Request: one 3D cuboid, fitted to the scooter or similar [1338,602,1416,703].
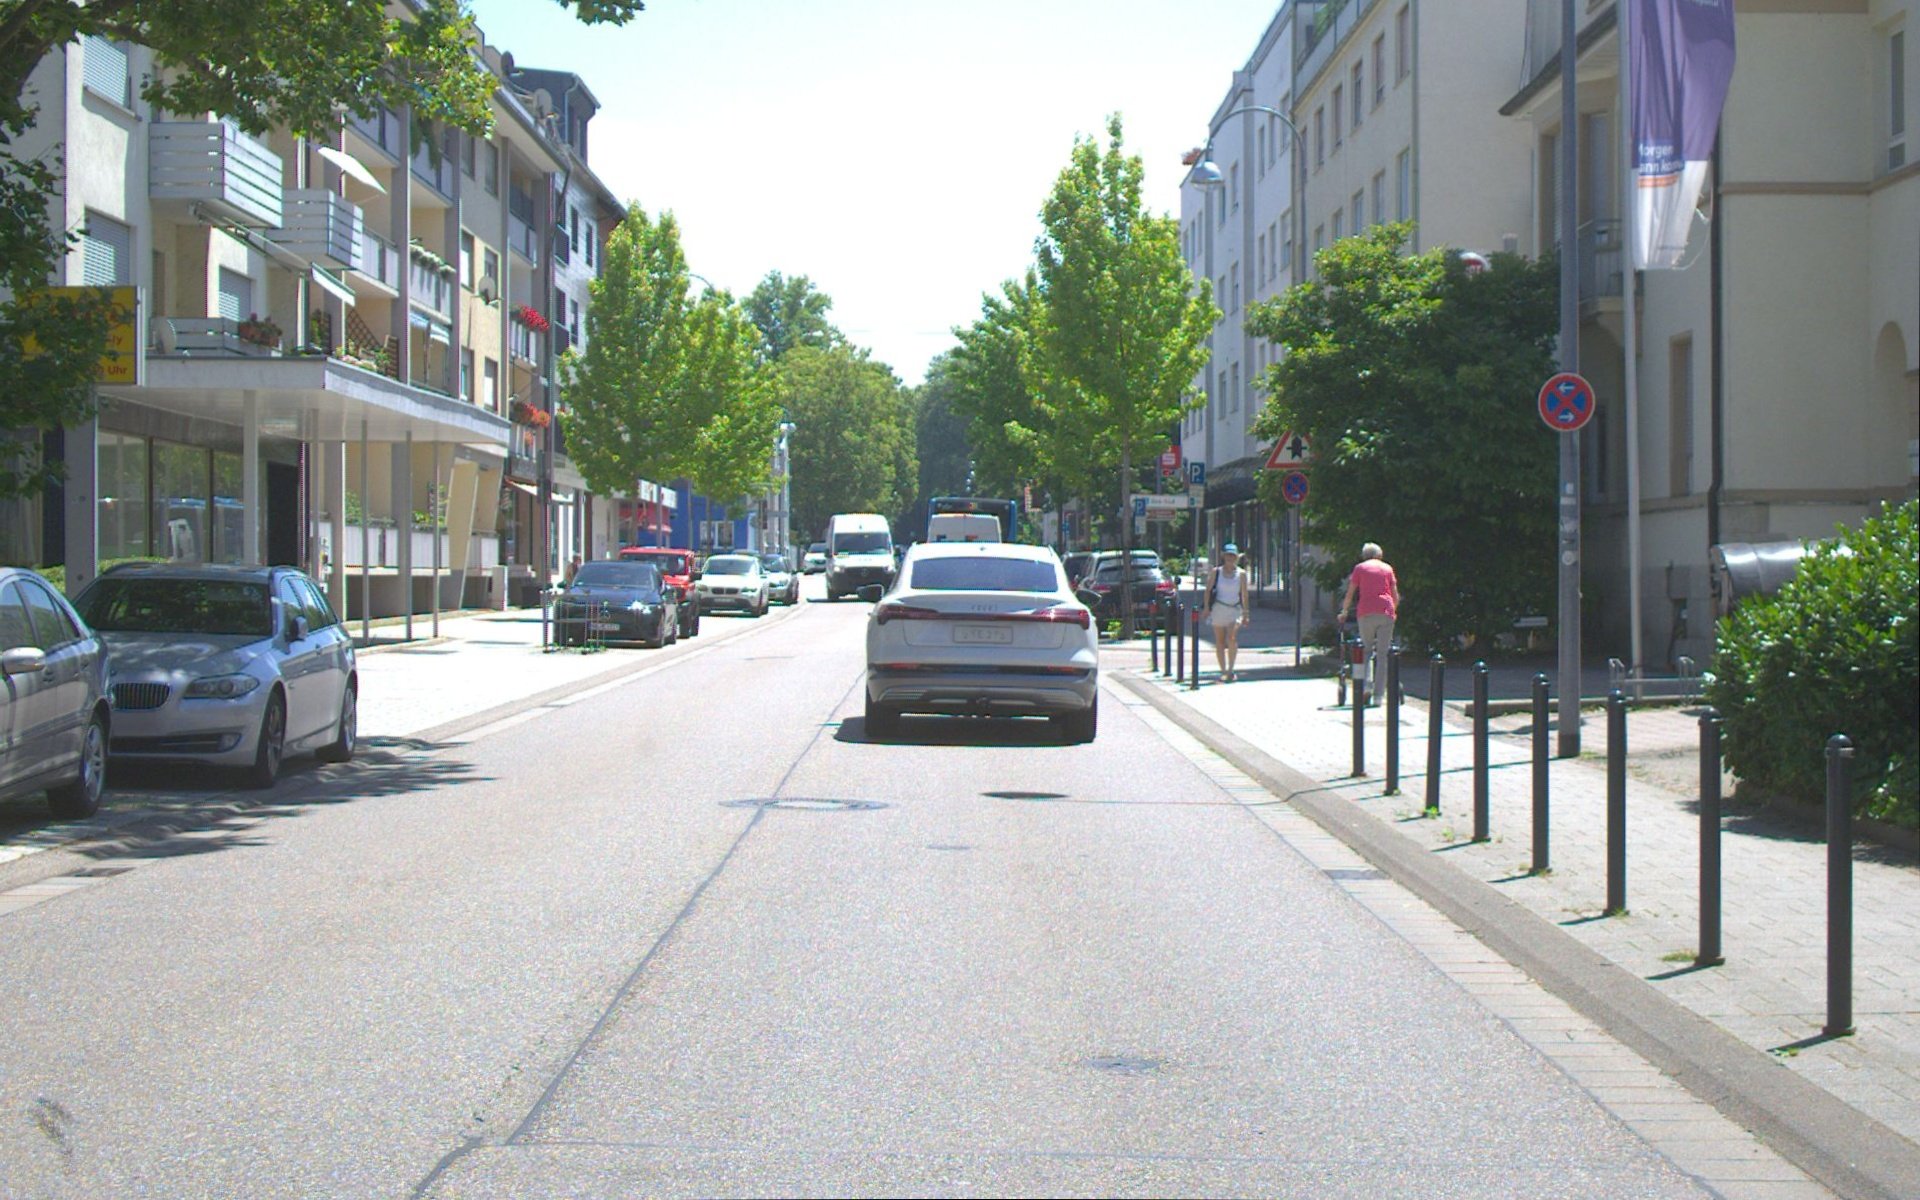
[{"bbox_3d":[4.091,0.508,33.723,0.663,0.960,0.754,-1,1,0],"label":"scooter or similar"}]

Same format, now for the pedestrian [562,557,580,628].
[{"bbox_3d":[-9.494,-0.186,83.812,0.394,1.729,0.446,0,1,-11],"label":"pedestrian"}]

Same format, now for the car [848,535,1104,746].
[{"bbox_3d":[0.082,0.292,29.377,1.993,1.627,4.000,1,1,-1],"label":"car"}]

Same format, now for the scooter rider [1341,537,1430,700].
[{"bbox_3d":[4.082,0.169,33.032,0.716,1.543,0.770,-1,1,-2],"label":"scooter rider"}]

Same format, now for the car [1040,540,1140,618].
[{"bbox_3d":[2.912,-0.499,78.002,1.855,1.669,4.537,-2,1,-3],"label":"car"}]

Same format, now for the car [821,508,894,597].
[{"bbox_3d":[-3.145,-1.477,106.714,2.036,2.621,7.108,-2,1,0],"label":"car"}]

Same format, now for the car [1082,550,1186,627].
[{"bbox_3d":[3.327,-0.255,66.515,1.896,1.433,4.544,0,1,2],"label":"car"}]

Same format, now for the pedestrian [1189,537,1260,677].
[{"bbox_3d":[3.157,0.084,41.063,0.700,1.621,0.784,-3,0,-1],"label":"pedestrian"}]

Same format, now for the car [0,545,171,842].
[{"bbox_3d":[-5.745,0.432,18.415,1.981,1.447,4.868,1,1,-1],"label":"car"}]

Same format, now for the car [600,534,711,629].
[{"bbox_3d":[-5.802,-0.367,65.857,1.752,1.696,4.101,2,1,-1],"label":"car"}]

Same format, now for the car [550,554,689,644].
[{"bbox_3d":[-5.829,-0.054,59.385,1.896,1.412,5.048,2,1,-1],"label":"car"}]

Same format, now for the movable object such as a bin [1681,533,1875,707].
[{"bbox_3d":[7.302,0.168,30.774,1.368,1.454,1.380,-3,0,2],"label":"movable object such as a bin"}]

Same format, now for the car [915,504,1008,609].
[{"bbox_3d":[0.040,-1.063,84.784,2.156,2.433,5.283,2,1,0],"label":"car"}]

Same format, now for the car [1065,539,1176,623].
[{"bbox_3d":[3.357,-0.434,72.655,1.896,1.669,4.691,-2,1,-3],"label":"car"}]

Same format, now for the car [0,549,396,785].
[{"bbox_3d":[-5.367,0.388,24.308,1.981,1.447,5.151,1,1,-1],"label":"car"}]

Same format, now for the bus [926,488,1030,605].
[{"bbox_3d":[0.576,-1.531,100.074,2.661,3.210,7.301,2,1,2],"label":"bus"}]

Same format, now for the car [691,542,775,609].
[{"bbox_3d":[-5.865,-0.647,89.169,1.752,1.612,4.401,2,1,1],"label":"car"}]

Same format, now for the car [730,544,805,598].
[{"bbox_3d":[-5.578,-0.854,100.033,1.752,1.448,4.400,2,1,2],"label":"car"}]
